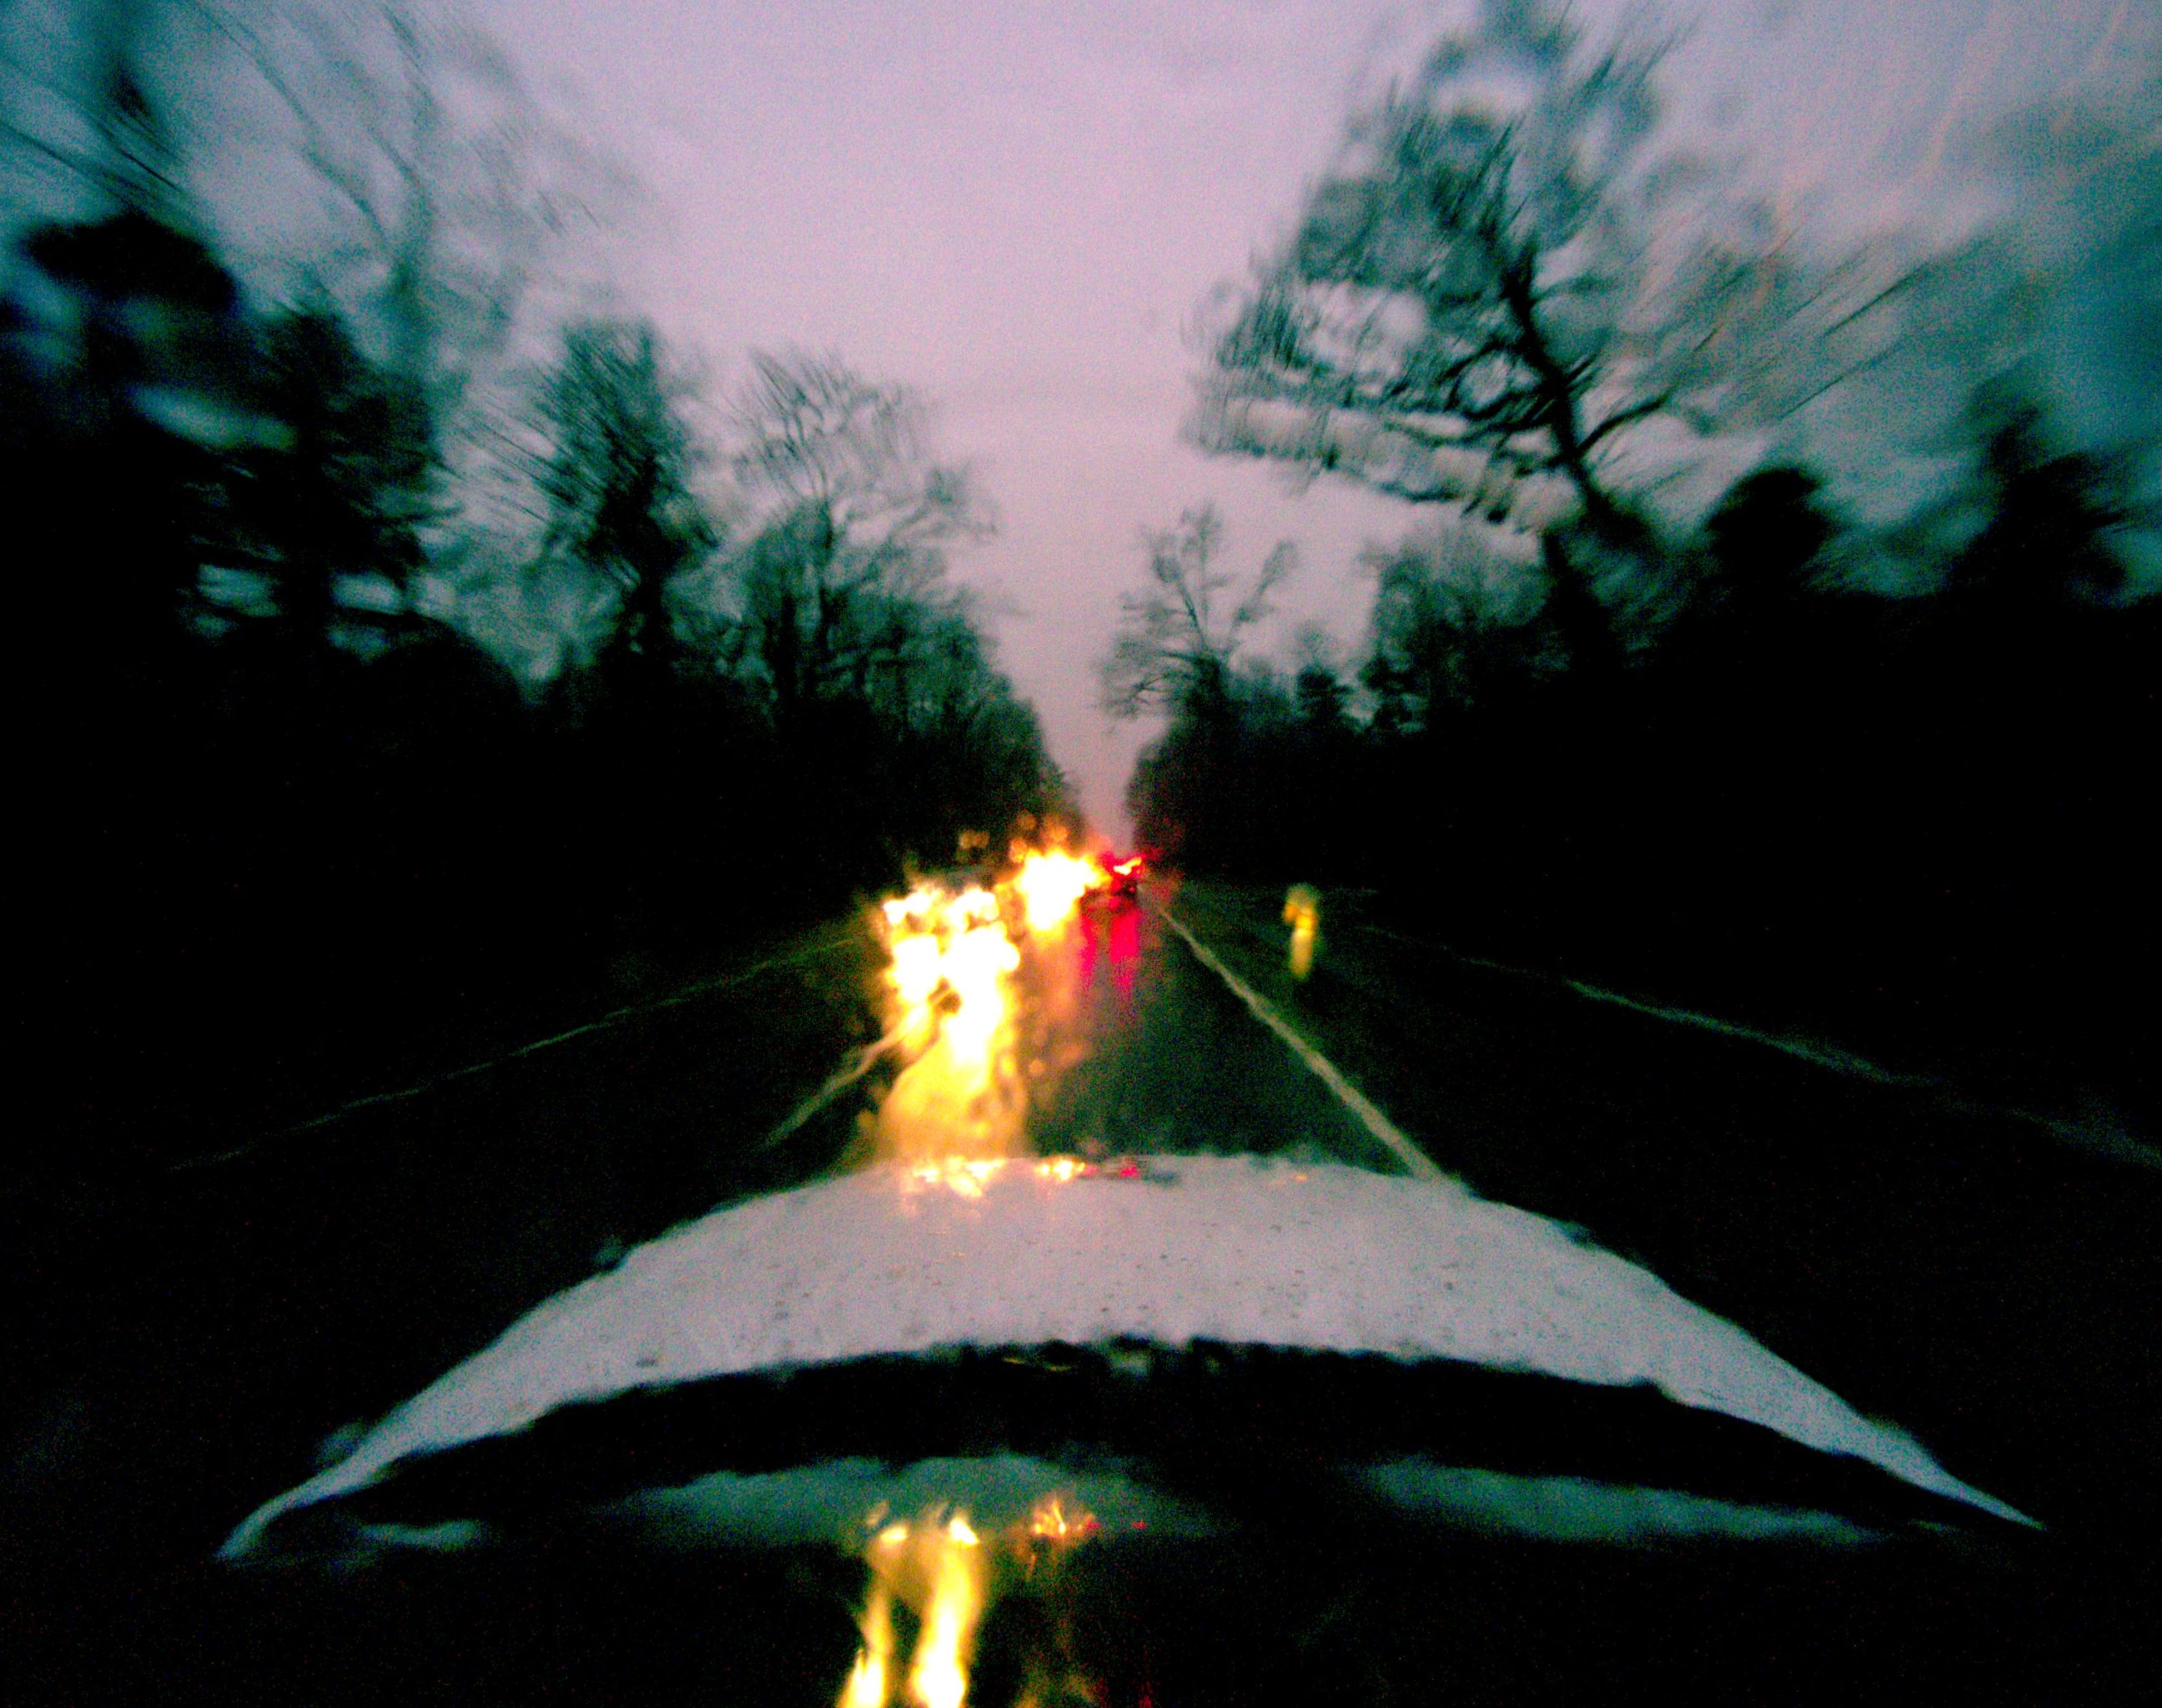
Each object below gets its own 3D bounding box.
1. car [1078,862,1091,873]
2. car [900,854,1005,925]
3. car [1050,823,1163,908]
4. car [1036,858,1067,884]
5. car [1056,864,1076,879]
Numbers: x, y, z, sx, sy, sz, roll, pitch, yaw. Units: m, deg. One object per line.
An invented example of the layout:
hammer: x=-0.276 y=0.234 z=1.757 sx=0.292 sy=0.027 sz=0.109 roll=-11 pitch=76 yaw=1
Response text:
car: x=0.599 y=2.241 z=135.783 sx=2.068 sy=1.616 sz=4.152 roll=-2 pitch=-1 yaw=1
car: x=-2.927 y=0.755 z=19.350 sx=1.685 sy=1.420 sz=4.002 roll=-2 pitch=0 yaw=2
car: x=0.868 y=0.346 z=26.417 sx=3.171 sy=2.386 sz=6.640 roll=-1 pitch=0 yaw=3
car: x=-2.078 y=1.169 z=58.140 sx=1.911 sy=1.608 sz=5.016 roll=-2 pitch=0 yaw=1
car: x=-1.519 y=1.874 z=86.504 sx=1.861 sy=1.422 sz=4.388 roll=-2 pitch=0 yaw=2
